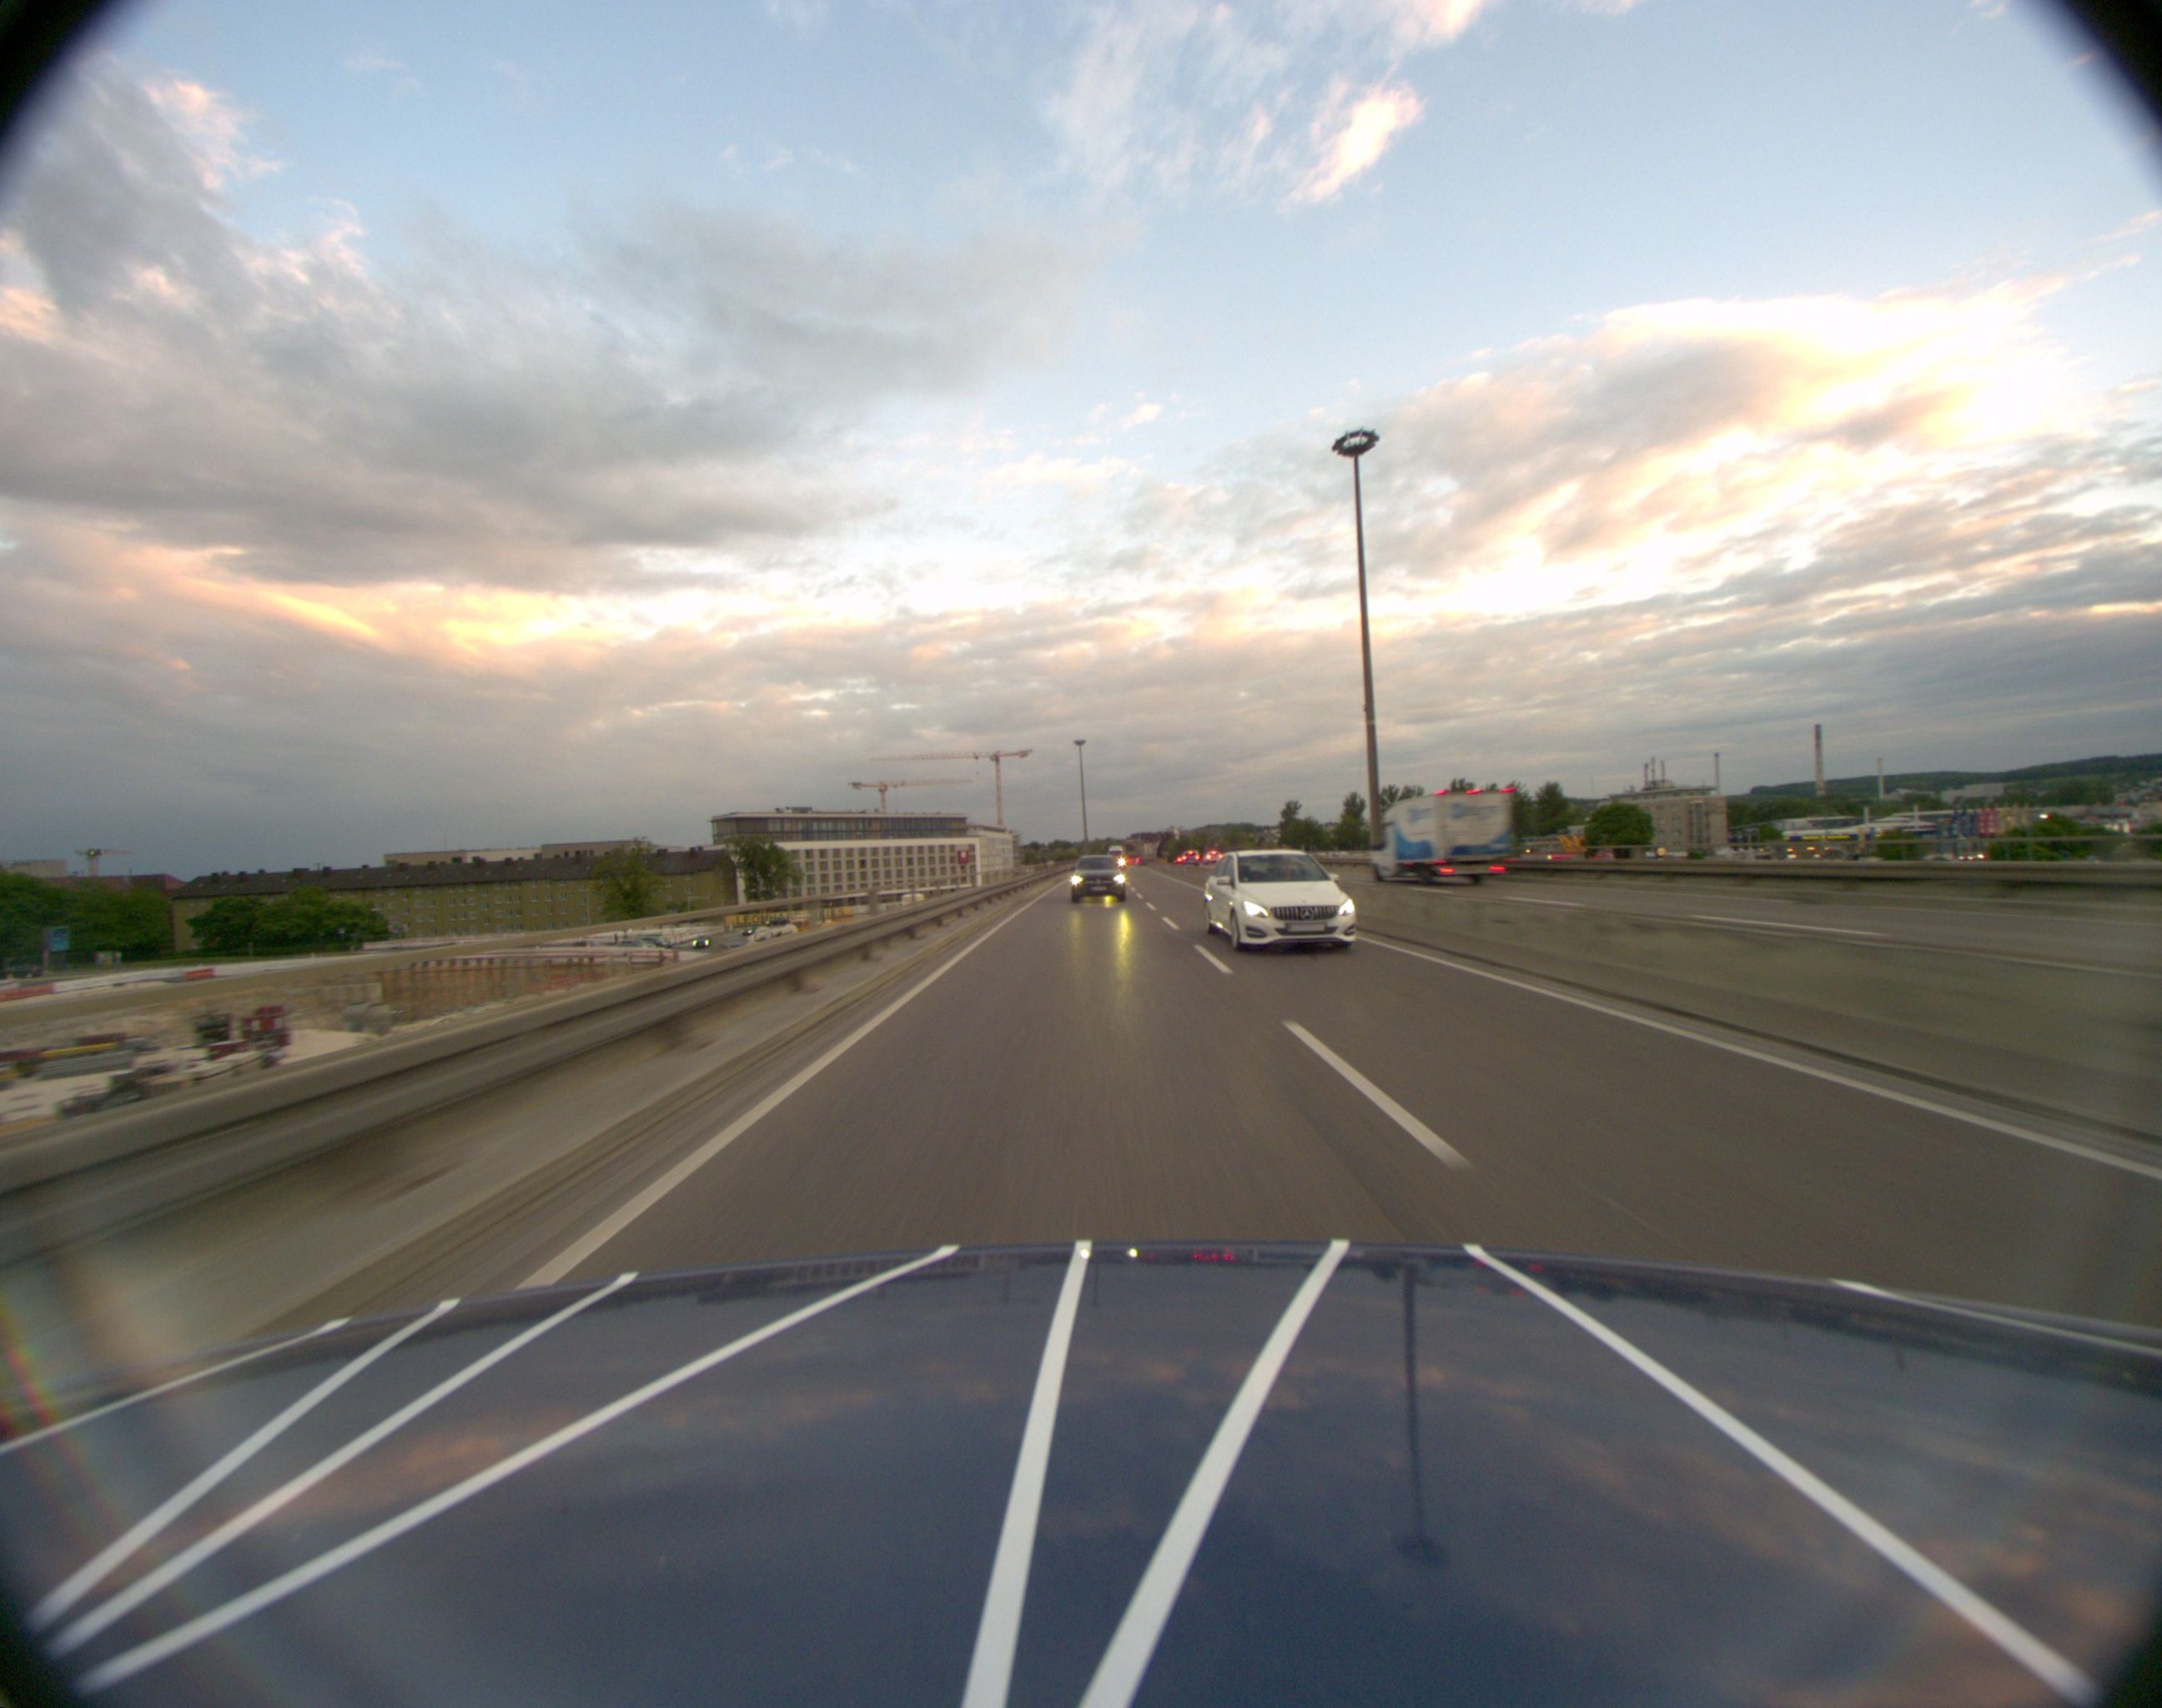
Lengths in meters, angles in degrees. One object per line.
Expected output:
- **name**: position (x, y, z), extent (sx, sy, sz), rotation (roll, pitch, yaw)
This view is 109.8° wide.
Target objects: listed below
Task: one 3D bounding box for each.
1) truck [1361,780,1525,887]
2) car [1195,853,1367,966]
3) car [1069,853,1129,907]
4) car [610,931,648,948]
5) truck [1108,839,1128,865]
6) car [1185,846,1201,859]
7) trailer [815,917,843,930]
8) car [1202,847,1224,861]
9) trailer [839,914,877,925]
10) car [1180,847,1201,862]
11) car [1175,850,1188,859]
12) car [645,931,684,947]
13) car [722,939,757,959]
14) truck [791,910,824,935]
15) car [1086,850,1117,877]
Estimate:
- **truck**: position (12.779, -0.668, 27.654), extent (2.541, 3.277, 7.446), rotation (-2, 0, 2)
- **car**: position (3.171, 0.815, 13.085), extent (1.695, 1.528, 4.784), rotation (-2, -1, 1)
- **car**: position (0.646, 0.811, 25.470), extent (1.823, 1.602, 4.213), rotation (-1, 0, 2)
- **car**: position (-55.396, 10.470, 93.126), extent (3.788, 1.729, 1.647), rotation (-4, 1, 16)
- **truck**: position (6.848, -0.400, 139.449), extent (3.164, 4.369, 8.795), rotation (-2, 0, 5)
- **car**: position (17.351, -0.230, 117.890), extent (1.905, 1.889, 5.459), rotation (-2, 0, 2)
- **trailer**: position (-39.435, 10.843, 118.912), extent (1.998, 1.339, 5.875), rotation (-8, -1, 3)
- **car**: position (14.892, 0.032, 85.901), extent (1.835, 1.494, 4.817), rotation (-1, 0, 3)
- **trailer**: position (-36.372, 10.713, 124.122), extent (5.876, 1.340, 2.024), rotation (-2, 1, -16)
- **car**: position (11.295, 0.084, 78.325), extent (1.633, 1.432, 3.836), rotation (-2, -1, 1)
- **car**: position (18.685, 0.151, 141.331), extent (1.833, 1.465, 4.902), rotation (-2, -1, 1)
- **car**: position (-53.854, 10.994, 98.274), extent (4.095, 1.710, 1.804), rotation (-2, 3, 13)
- **car**: position (-37.457, 10.429, 83.242), extent (2.004, 1.865, 5.082), rotation (-4, -4, -42)
- **truck**: position (-40.015, 9.943, 111.247), extent (2.163, 2.930, 7.336), rotation (-5, -1, -2)
- **car**: position (1.310, 0.676, 50.488), extent (1.891, 1.641, 4.345), rotation (-2, -1, 0)
